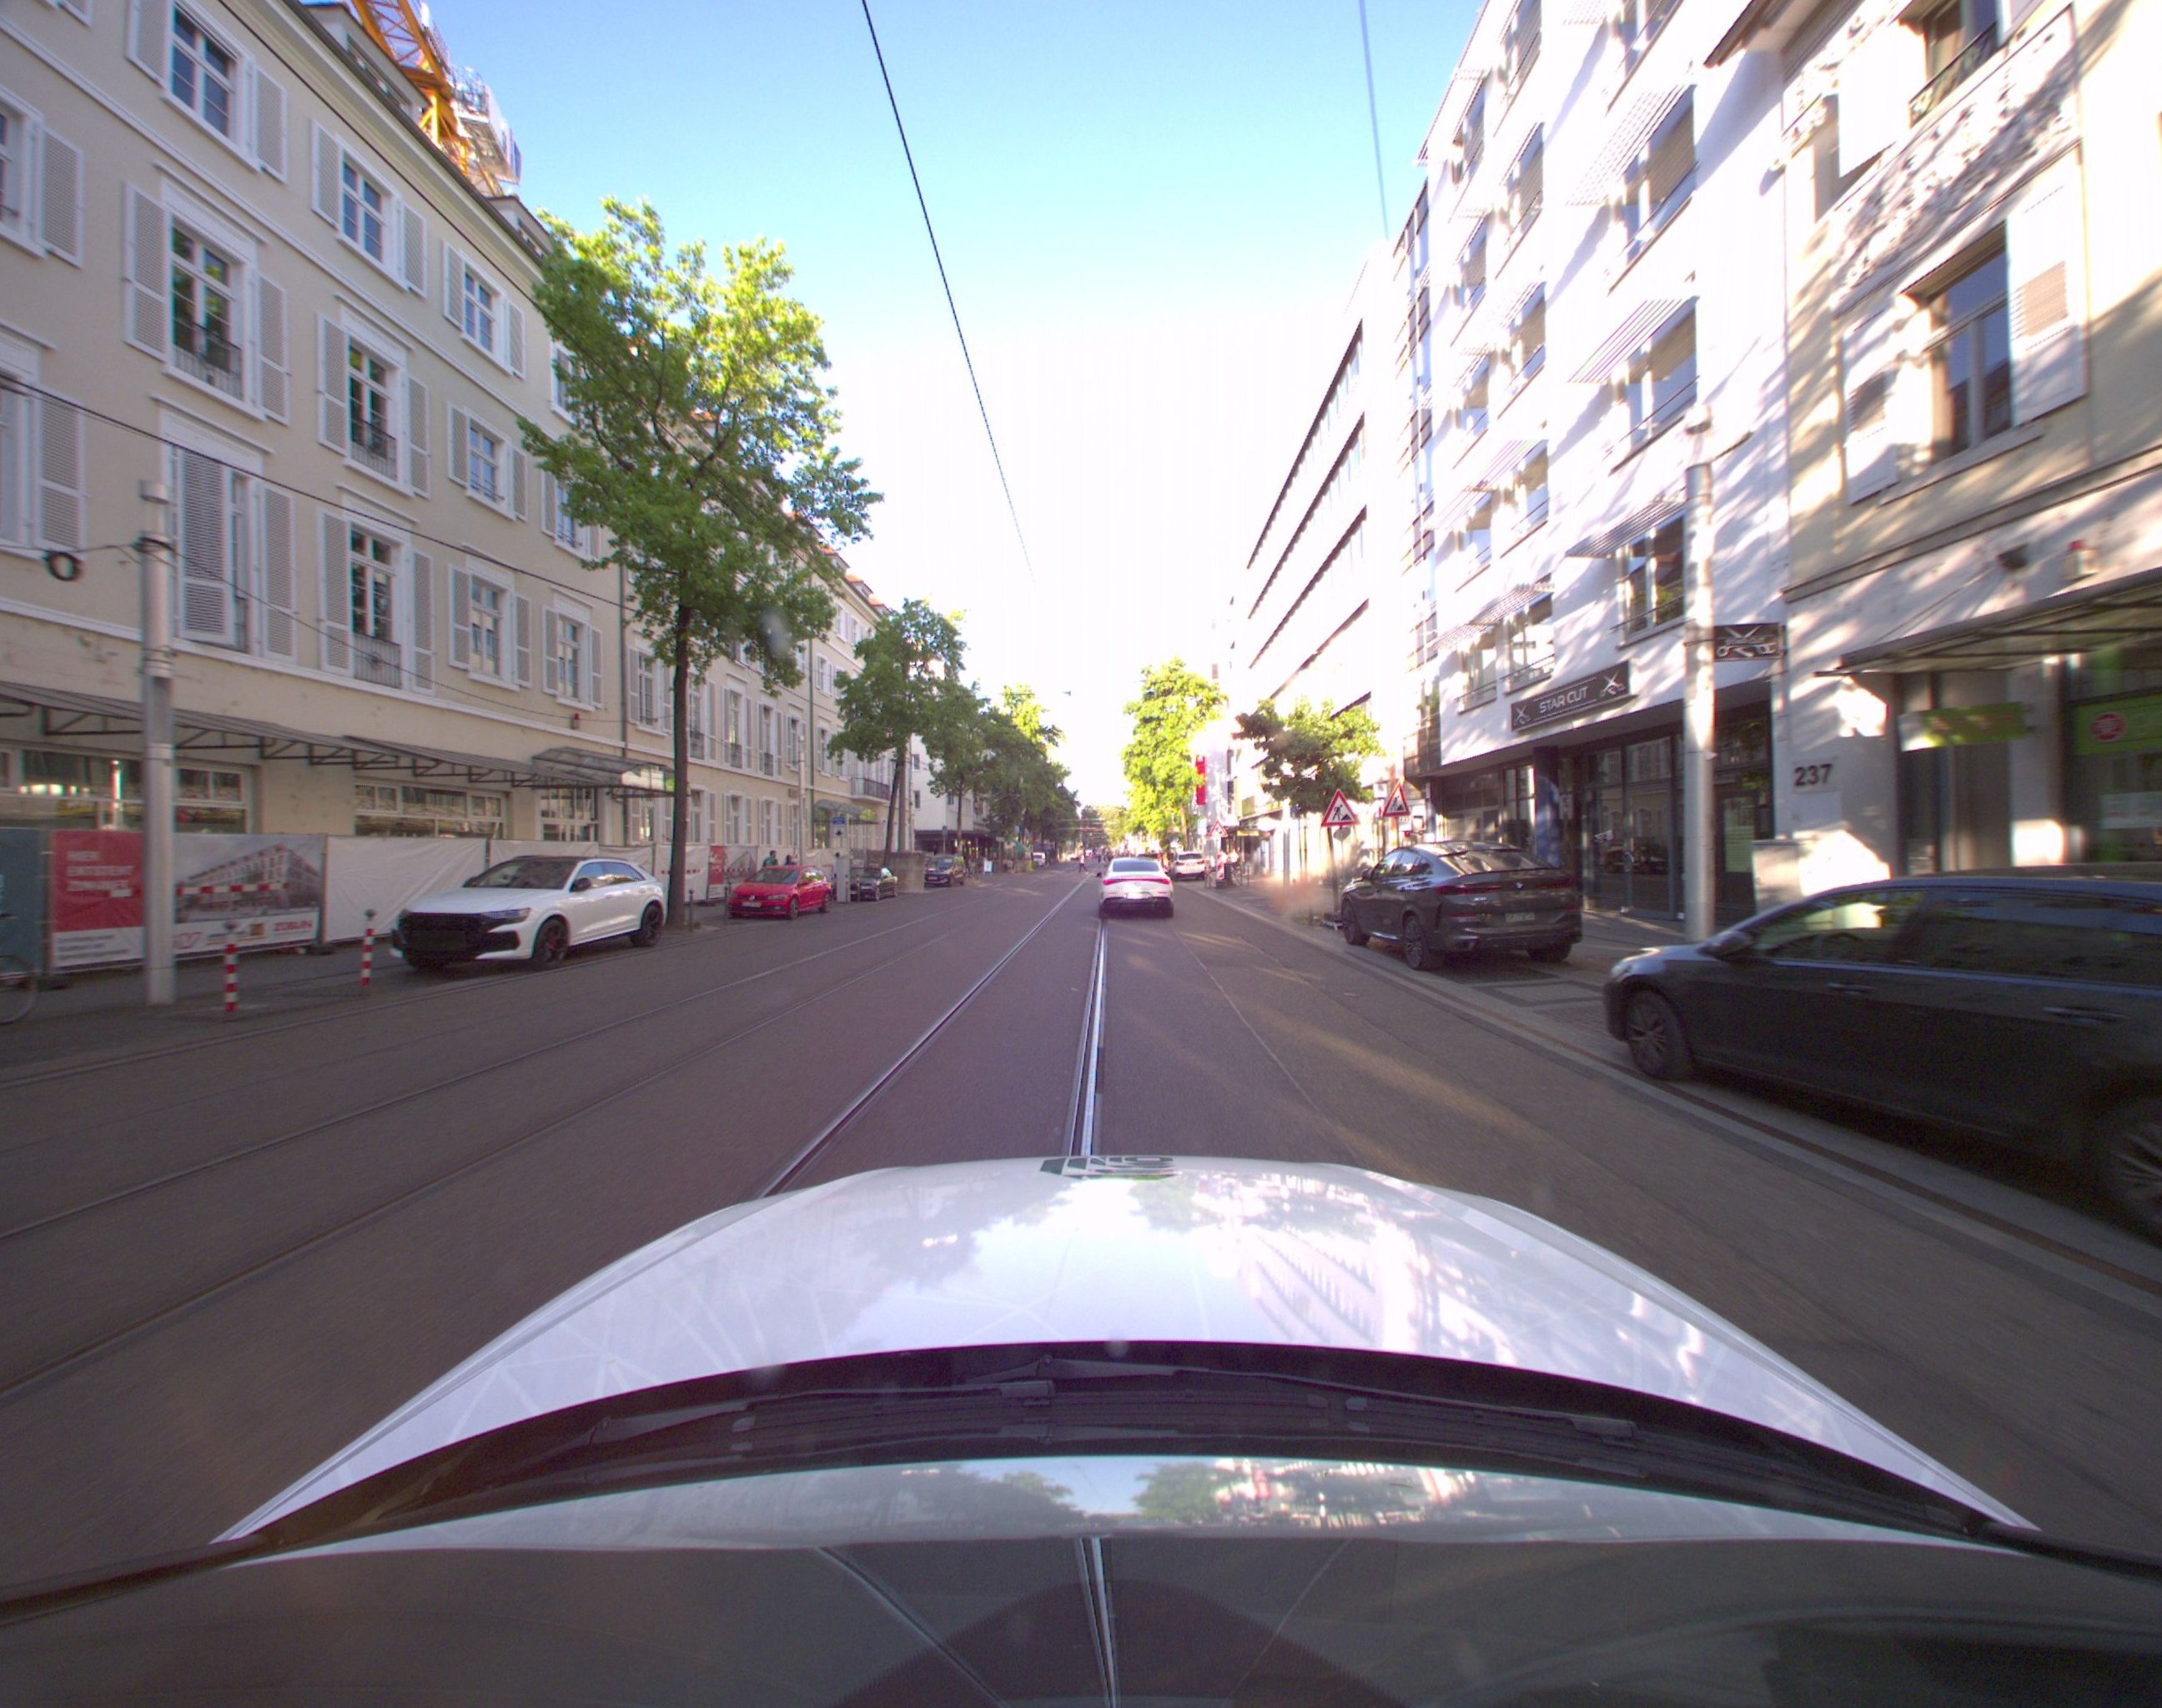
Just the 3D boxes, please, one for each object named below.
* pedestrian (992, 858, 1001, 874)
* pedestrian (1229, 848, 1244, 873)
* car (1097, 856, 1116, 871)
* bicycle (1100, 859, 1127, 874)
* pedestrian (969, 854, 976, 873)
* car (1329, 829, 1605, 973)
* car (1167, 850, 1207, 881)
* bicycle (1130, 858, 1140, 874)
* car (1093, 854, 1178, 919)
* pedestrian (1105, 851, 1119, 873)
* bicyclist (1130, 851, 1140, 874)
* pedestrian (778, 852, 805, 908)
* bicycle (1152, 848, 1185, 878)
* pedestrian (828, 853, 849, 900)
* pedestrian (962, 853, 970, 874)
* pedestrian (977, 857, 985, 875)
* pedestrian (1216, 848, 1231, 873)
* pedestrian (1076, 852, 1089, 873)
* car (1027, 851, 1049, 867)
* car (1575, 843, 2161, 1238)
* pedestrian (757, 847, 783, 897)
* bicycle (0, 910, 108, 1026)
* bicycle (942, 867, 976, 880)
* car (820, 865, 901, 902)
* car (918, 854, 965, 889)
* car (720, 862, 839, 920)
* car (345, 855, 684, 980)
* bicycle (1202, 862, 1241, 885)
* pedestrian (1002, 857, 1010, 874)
[{"bbox_3d":[-7.791,1.105,75.140,0.564,1.464,0.653,-1,0,21],"label":"pedestrian"},{"bbox_3d":[11.028,0.451,57.685,0.799,1.774,0.680,-1,0,-10],"label":"pedestrian"},{"bbox_3d":[5.622,2.052,181.118,4.024,3.114,8.434,-1,-1,2],"label":"car"},{"bbox_3d":[2.595,0.995,65.632,2.050,1.135,0.870,-1,0,-13],"label":"bicycle"},{"bbox_3d":[-9.755,0.823,73.015,0.515,1.653,0.650,-1,0,1],"label":"pedestrian"},{"bbox_3d":[5.423,0.572,12.325,1.986,1.713,4.868,-1,0,2],"label":"car"},{"bbox_3d":[6.365,0.645,49.109,1.986,1.728,4.243,-1,0,2],"label":"car"},{"bbox_3d":[4.020,0.882,60.890,0.737,1.188,2.162,-1,-1,3],"label":"bicycle"},{"bbox_3d":[1.297,0.753,20.974,1.862,1.469,4.040,-1,0,-1],"label":"car"},{"bbox_3d":[2.506,0.661,65.625,0.920,1.774,0.870,-1,0,-13],"label":"pedestrian"},{"bbox_3d":[4.017,0.620,60.947,0.722,1.702,0.811,-1,-1,2],"label":"bicyclist"},{"bbox_3d":[-10.514,0.928,29.560,0.705,2.004,0.675,-1,0,-2],"label":"pedestrian"},{"bbox_3d":[6.204,0.618,57.886,1.986,2.014,4.001,-1,-1,2],"label":"bicycle"},{"bbox_3d":[-10.565,0.966,35.490,0.705,2.004,0.675,-1,0,-2],"label":"pedestrian"},{"bbox_3d":[-10.331,0.813,73.184,0.515,1.855,0.650,-1,0,1],"label":"pedestrian"},{"bbox_3d":[-9.003,1.052,73.295,0.515,1.616,0.650,-1,0,1],"label":"pedestrian"},{"bbox_3d":[10.093,0.475,57.692,0.799,1.774,0.680,-1,0,-10],"label":"pedestrian"},{"bbox_3d":[0.141,0.718,68.510,0.920,1.774,0.870,-1,0,-13],"label":"pedestrian"},{"bbox_3d":[-5.711,0.623,107.829,1.981,2.013,4.011,-1,0,10],"label":"car"},{"bbox_3d":[4.961,0.715,4.452,1.834,1.436,3.994,-4,0,-4],"label":"car"},{"bbox_3d":[-11.350,0.658,29.726,0.706,1.806,0.675,-1,0,-3],"label":"pedestrian"},{"bbox_3d":[-10.620,1.128,7.683,0.592,1.050,2.005,-1,0,-5],"label":"bicycle"},{"bbox_3d":[-8.346,1.336,55.612,2.232,0.830,0.721,-1,0,24],"label":"bicycle"},{"bbox_3d":[-8.640,1.116,32.228,1.986,1.292,4.002,-1,0,2],"label":"car"},{"bbox_3d":[-7.732,0.947,45.384,1.543,1.796,3.176,-1,0,10],"label":"car"},{"bbox_3d":[-8.643,1.004,23.742,1.681,1.499,4.237,-1,0,3],"label":"car"},{"bbox_3d":[-8.952,0.880,13.609,1.953,1.692,5.017,-1,0,3],"label":"car"},{"bbox_3d":[6.536,0.904,37.888,1.714,1.062,0.581,-1,0,5],"label":"bicycle"},{"bbox_3d":[-7.077,1.087,76.597,0.519,1.478,0.644,-3,-1,-25],"label":"pedestrian"}]
